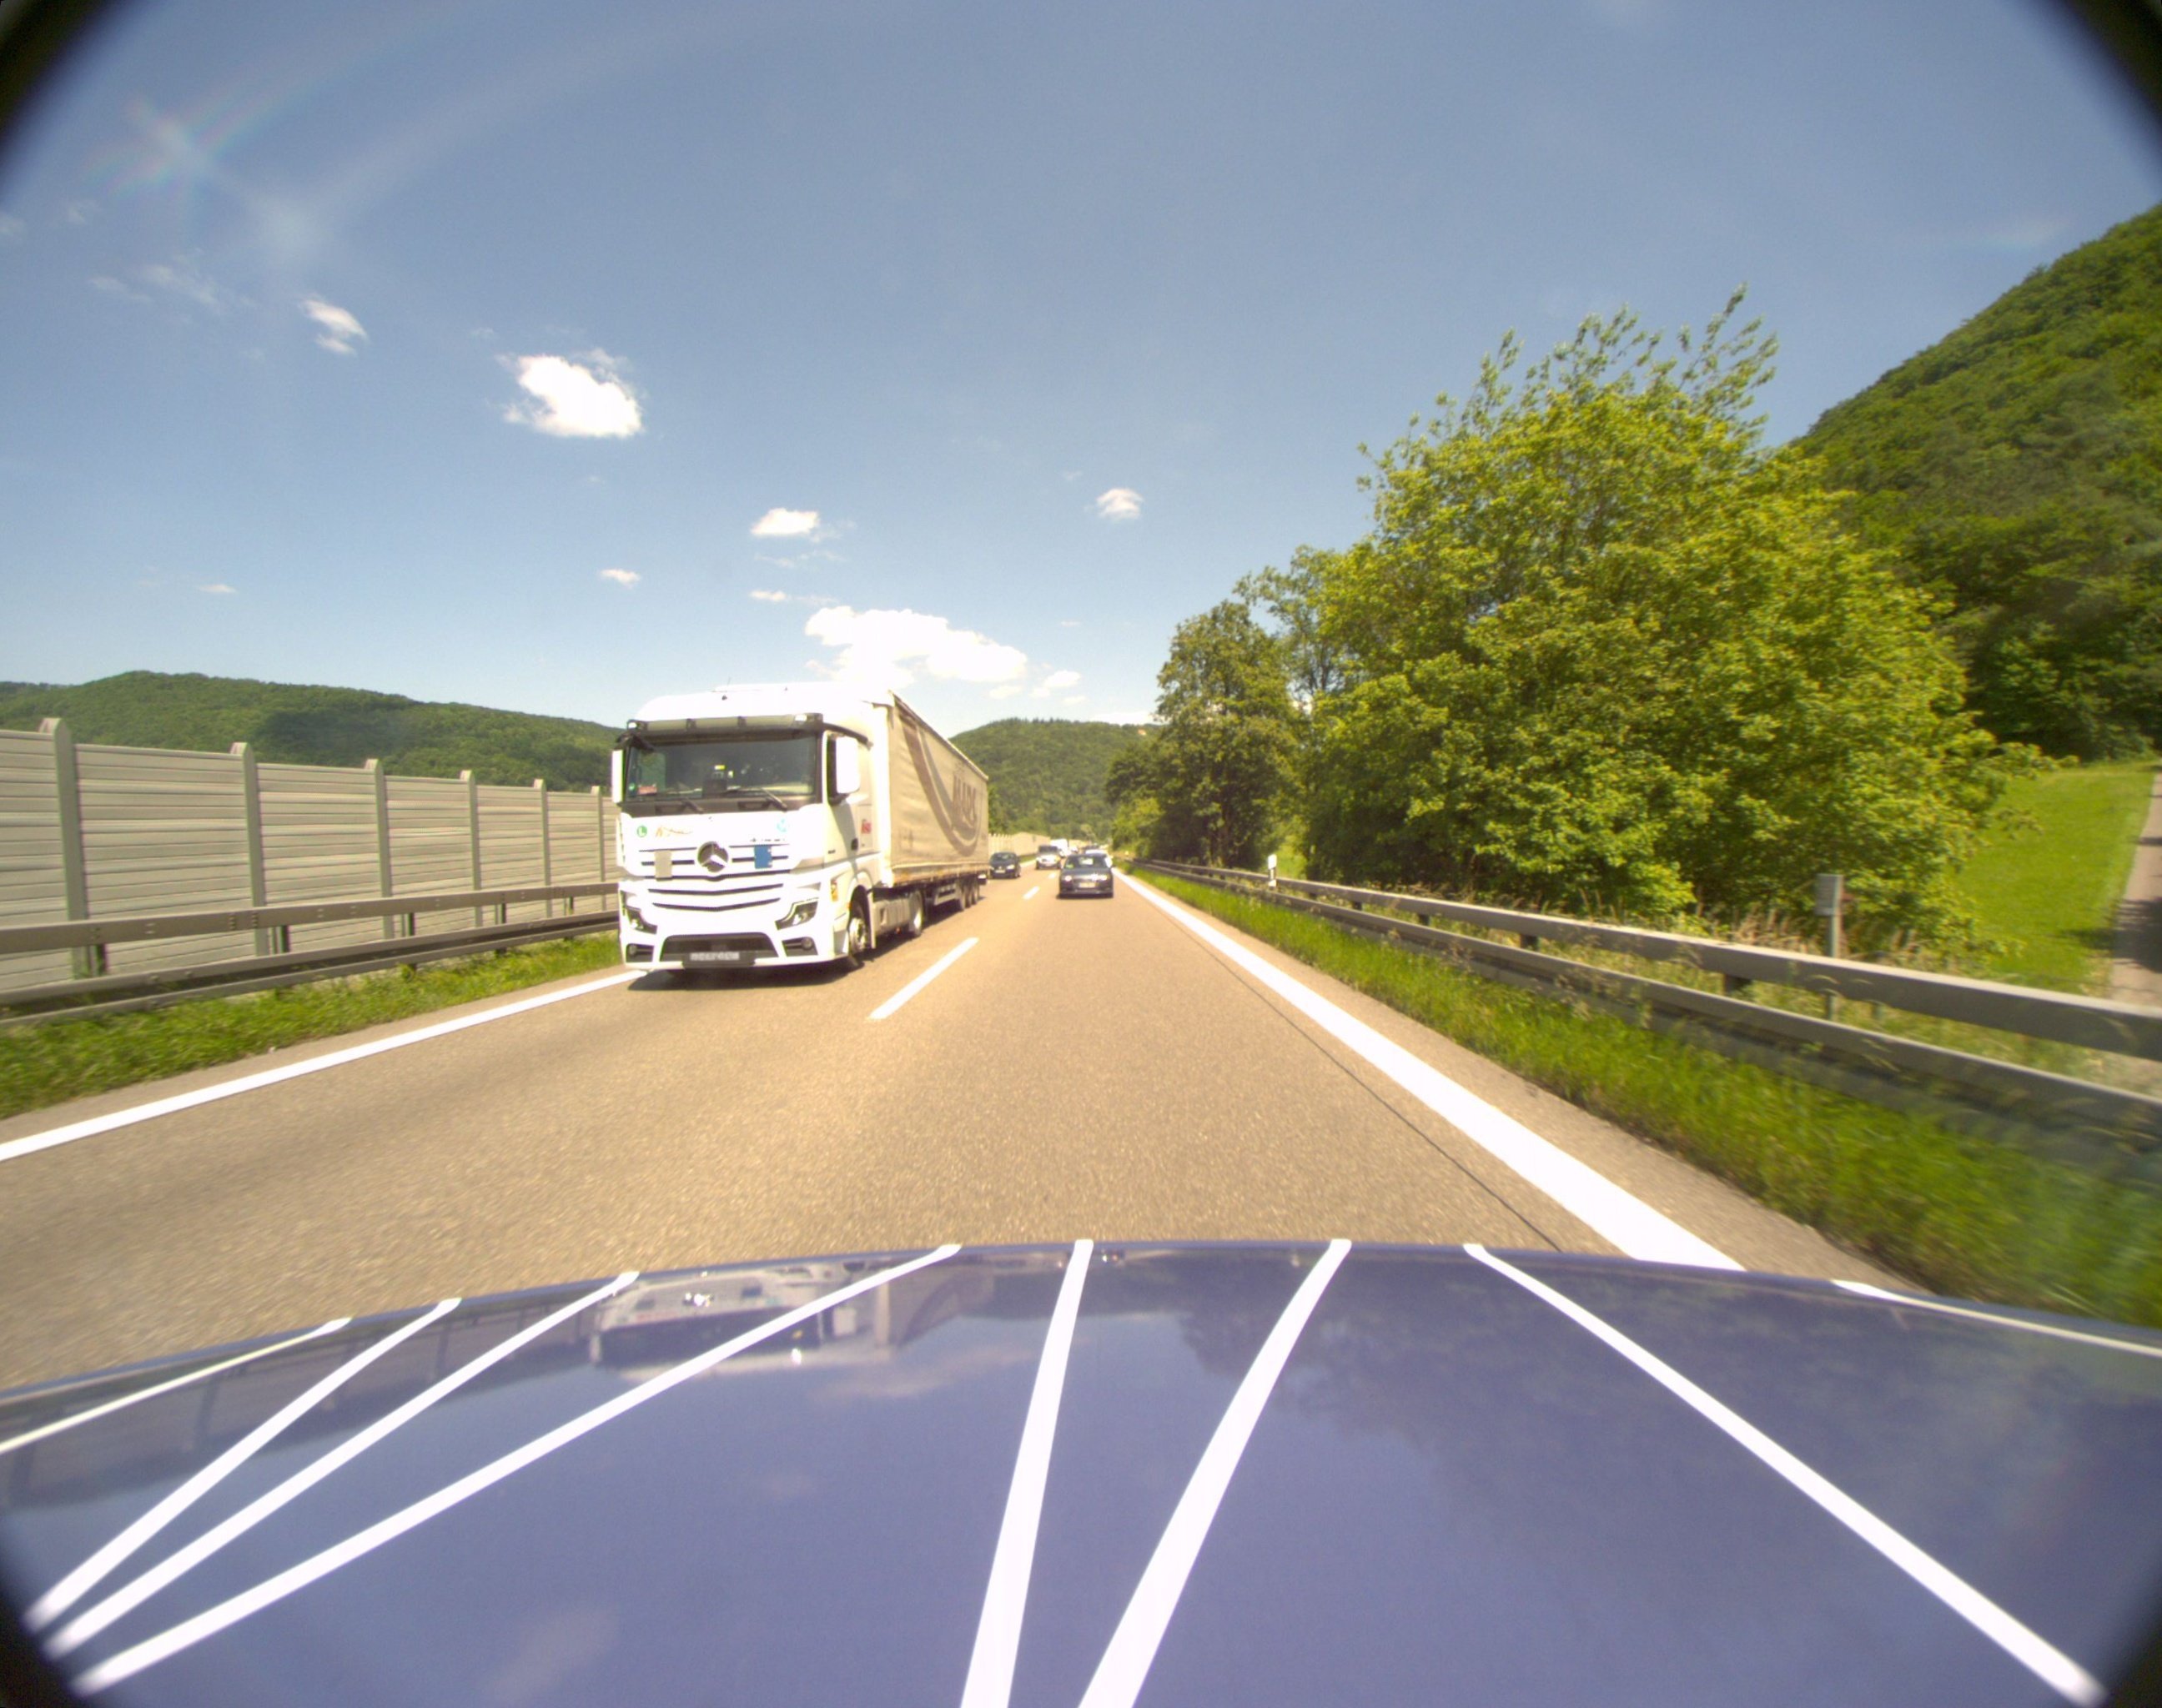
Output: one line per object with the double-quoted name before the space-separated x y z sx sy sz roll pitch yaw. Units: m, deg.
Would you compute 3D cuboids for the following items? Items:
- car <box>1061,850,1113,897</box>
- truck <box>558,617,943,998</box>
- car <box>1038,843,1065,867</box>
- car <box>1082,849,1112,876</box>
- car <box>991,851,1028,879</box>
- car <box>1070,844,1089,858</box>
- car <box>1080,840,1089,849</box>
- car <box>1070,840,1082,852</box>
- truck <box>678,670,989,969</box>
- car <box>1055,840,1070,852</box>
"car" 0.212 0.624 25.978 1.662 1.436 3.474 1 1 0
"truck" -4.178 -0.496 11.569 2.764 4.015 6.823 2 0 0
"car" -2.266 0.100 59.457 2.044 1.855 4.000 0 0 -1
"car" 0.944 0.464 46.418 1.715 1.541 3.999 1 1 0
"car" -3.878 0.554 41.704 1.662 1.405 3.474 1 1 0
"car" -0.210 -0.432 94.580 1.801 1.508 3.718 5 1 -6
"car" 0.791 -2.416 184.825 1.998 2.002 3.999 5 2 1
"car" -0.878 -1.437 141.958 1.998 2.002 3.999 5 2 1
"truck" -4.212 -0.541 16.764 2.862 4.124 12.044 -2 1 0
"car" -2.832 -1.233 117.603 1.998 1.892 4.000 2 0 1
